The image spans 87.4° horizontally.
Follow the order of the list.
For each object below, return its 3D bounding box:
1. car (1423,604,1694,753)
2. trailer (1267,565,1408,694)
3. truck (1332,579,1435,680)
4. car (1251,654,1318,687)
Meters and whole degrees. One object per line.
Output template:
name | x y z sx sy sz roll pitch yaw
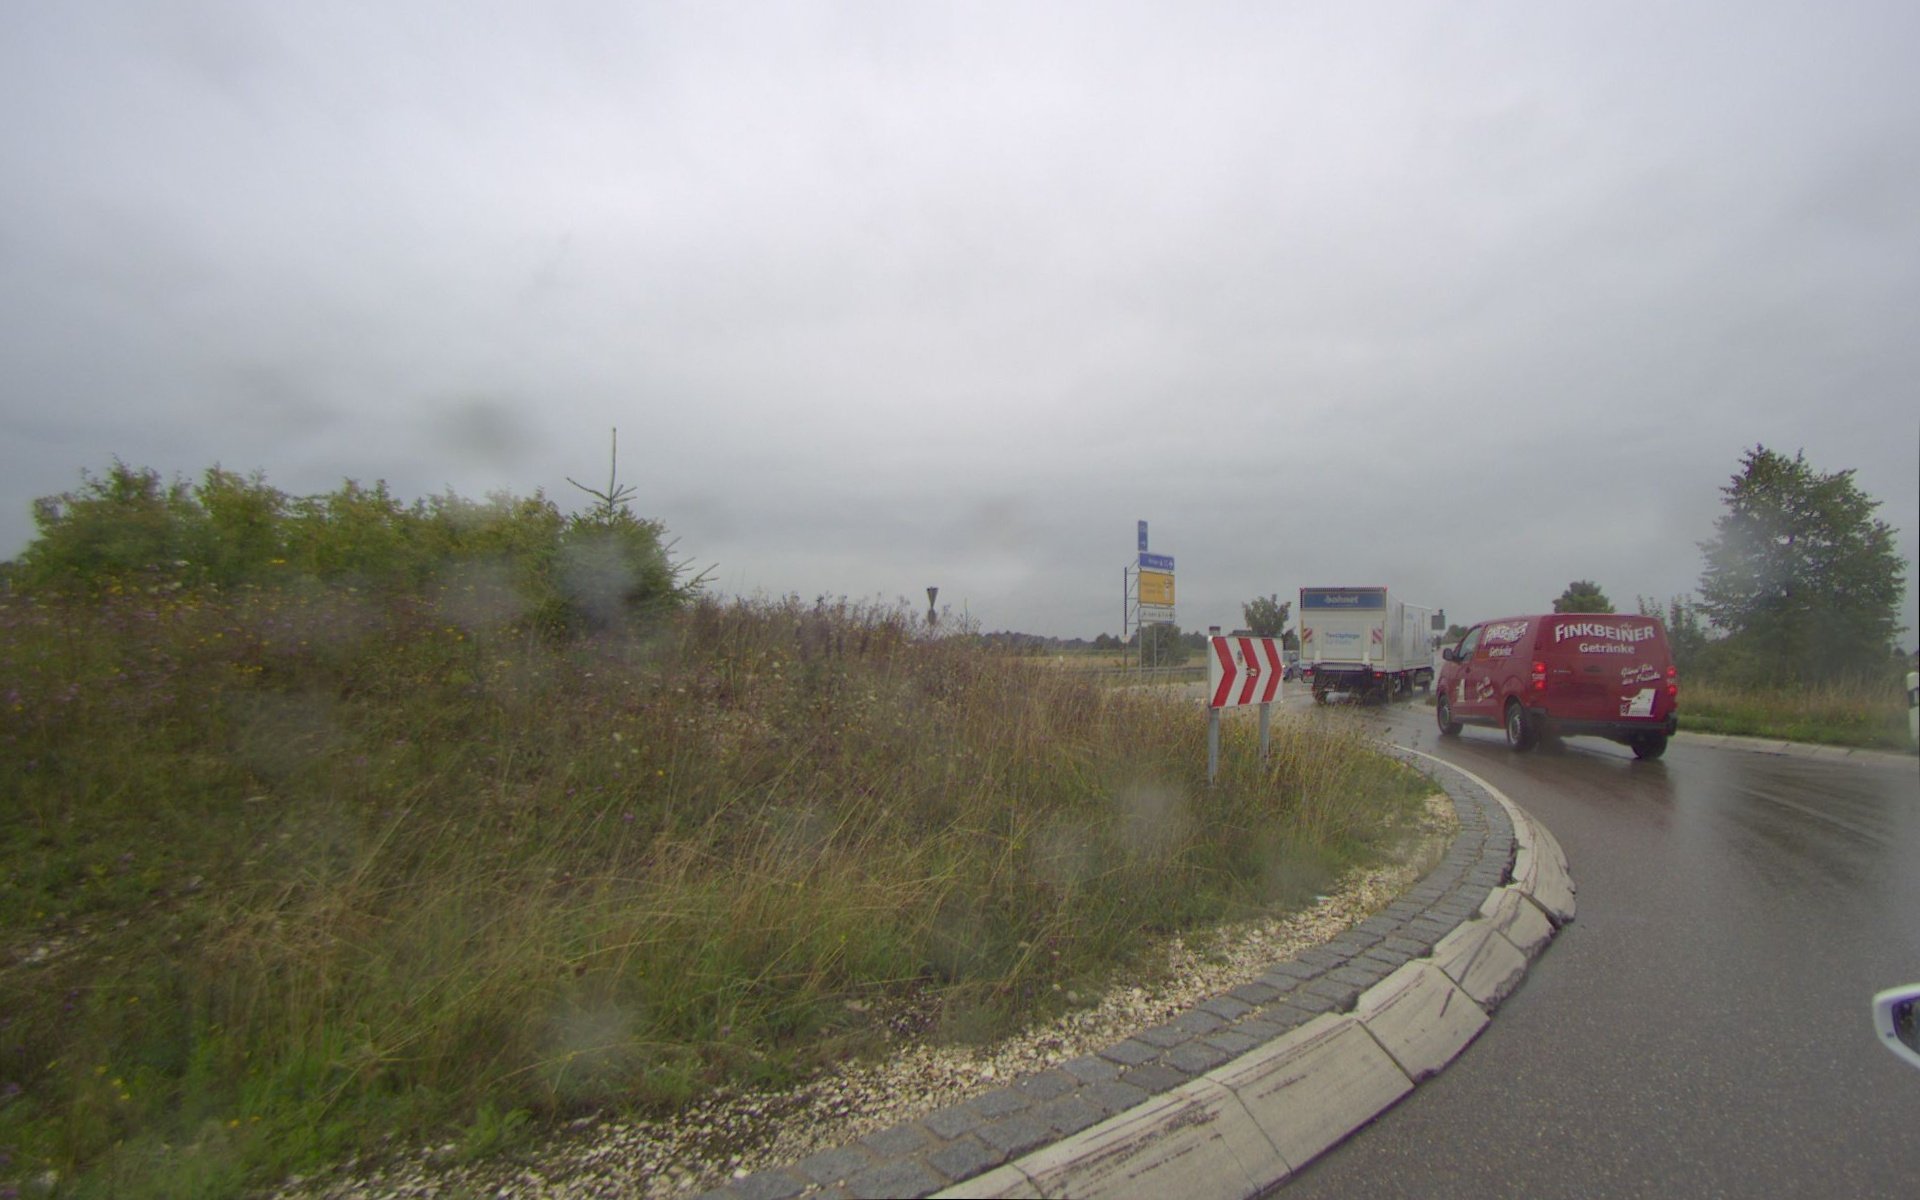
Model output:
car | 8.847 1.100 15.452 1.959 1.895 4.982 -1 -2 11
trailer | 13.374 1.067 34.953 2.792 3.869 9.694 -1 -2 31
truck | 17.966 1.282 42.292 2.760 3.869 7.671 -1 -2 32
car | 16.611 3.588 51.325 1.781 1.595 3.978 -1 -3 43
